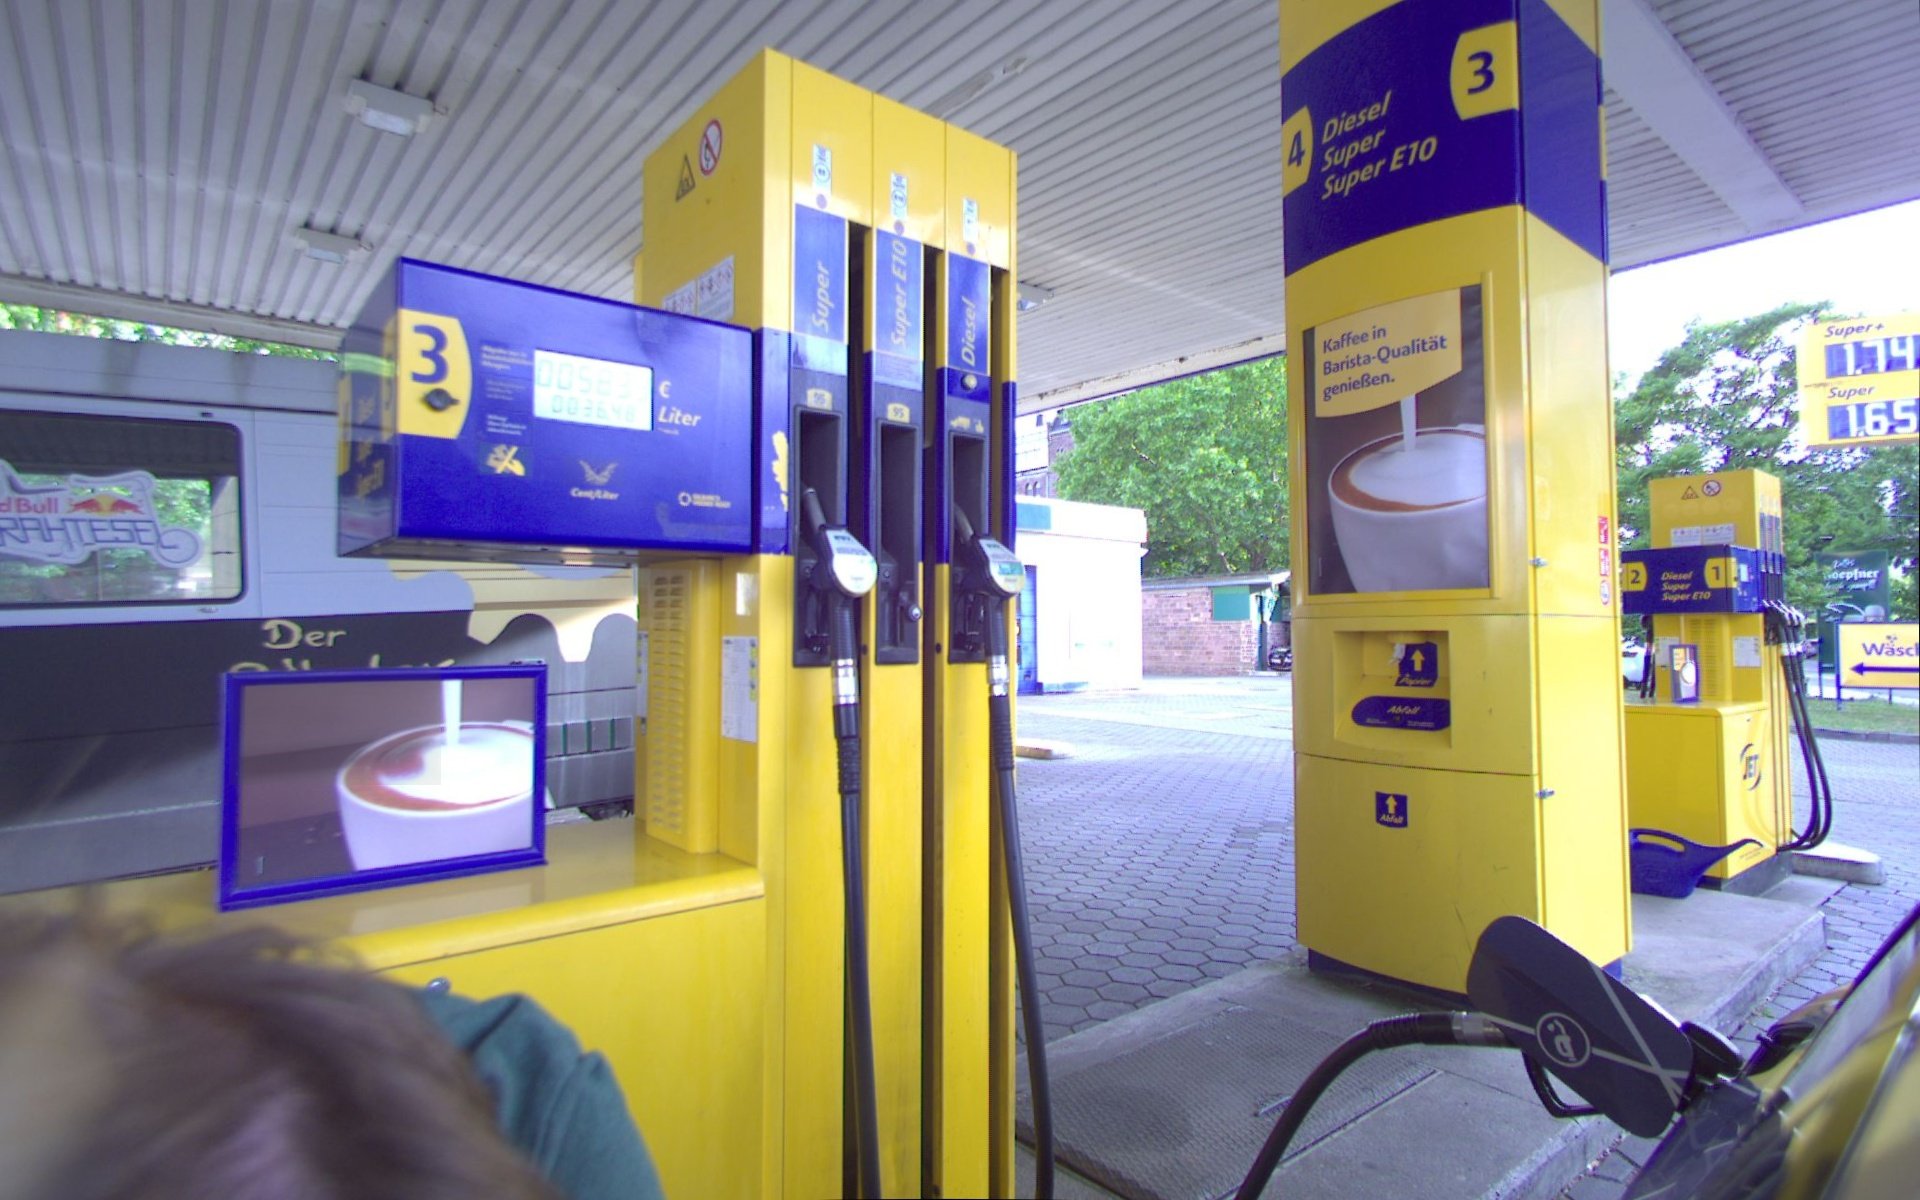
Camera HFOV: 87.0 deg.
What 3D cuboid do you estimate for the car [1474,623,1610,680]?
[{"bbox_3d":[17.766,1.573,30.853,4.112,1.606,1.826,2,-3,-31],"label":"car"}]

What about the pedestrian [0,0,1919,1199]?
[{"bbox_3d":[-0.332,0.522,0.566,0.975,1.750,1.182,-2,1,-36],"label":"pedestrian"}]

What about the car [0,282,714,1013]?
[{"bbox_3d":[-4.099,0.188,4.855,5.248,2.760,2.201,0,-1,-39],"label":"car"}]

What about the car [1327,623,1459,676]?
[{"bbox_3d":[13.777,1.563,32.171,4.112,1.606,1.826,2,-3,-31],"label":"car"}]

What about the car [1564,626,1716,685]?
[{"bbox_3d":[18.250,1.482,27.137,4.112,1.478,1.826,2,-3,-31],"label":"car"}]

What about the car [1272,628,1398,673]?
[{"bbox_3d":[12.637,1.694,34.034,4.112,1.453,1.826,2,-3,-31],"label":"car"}]
